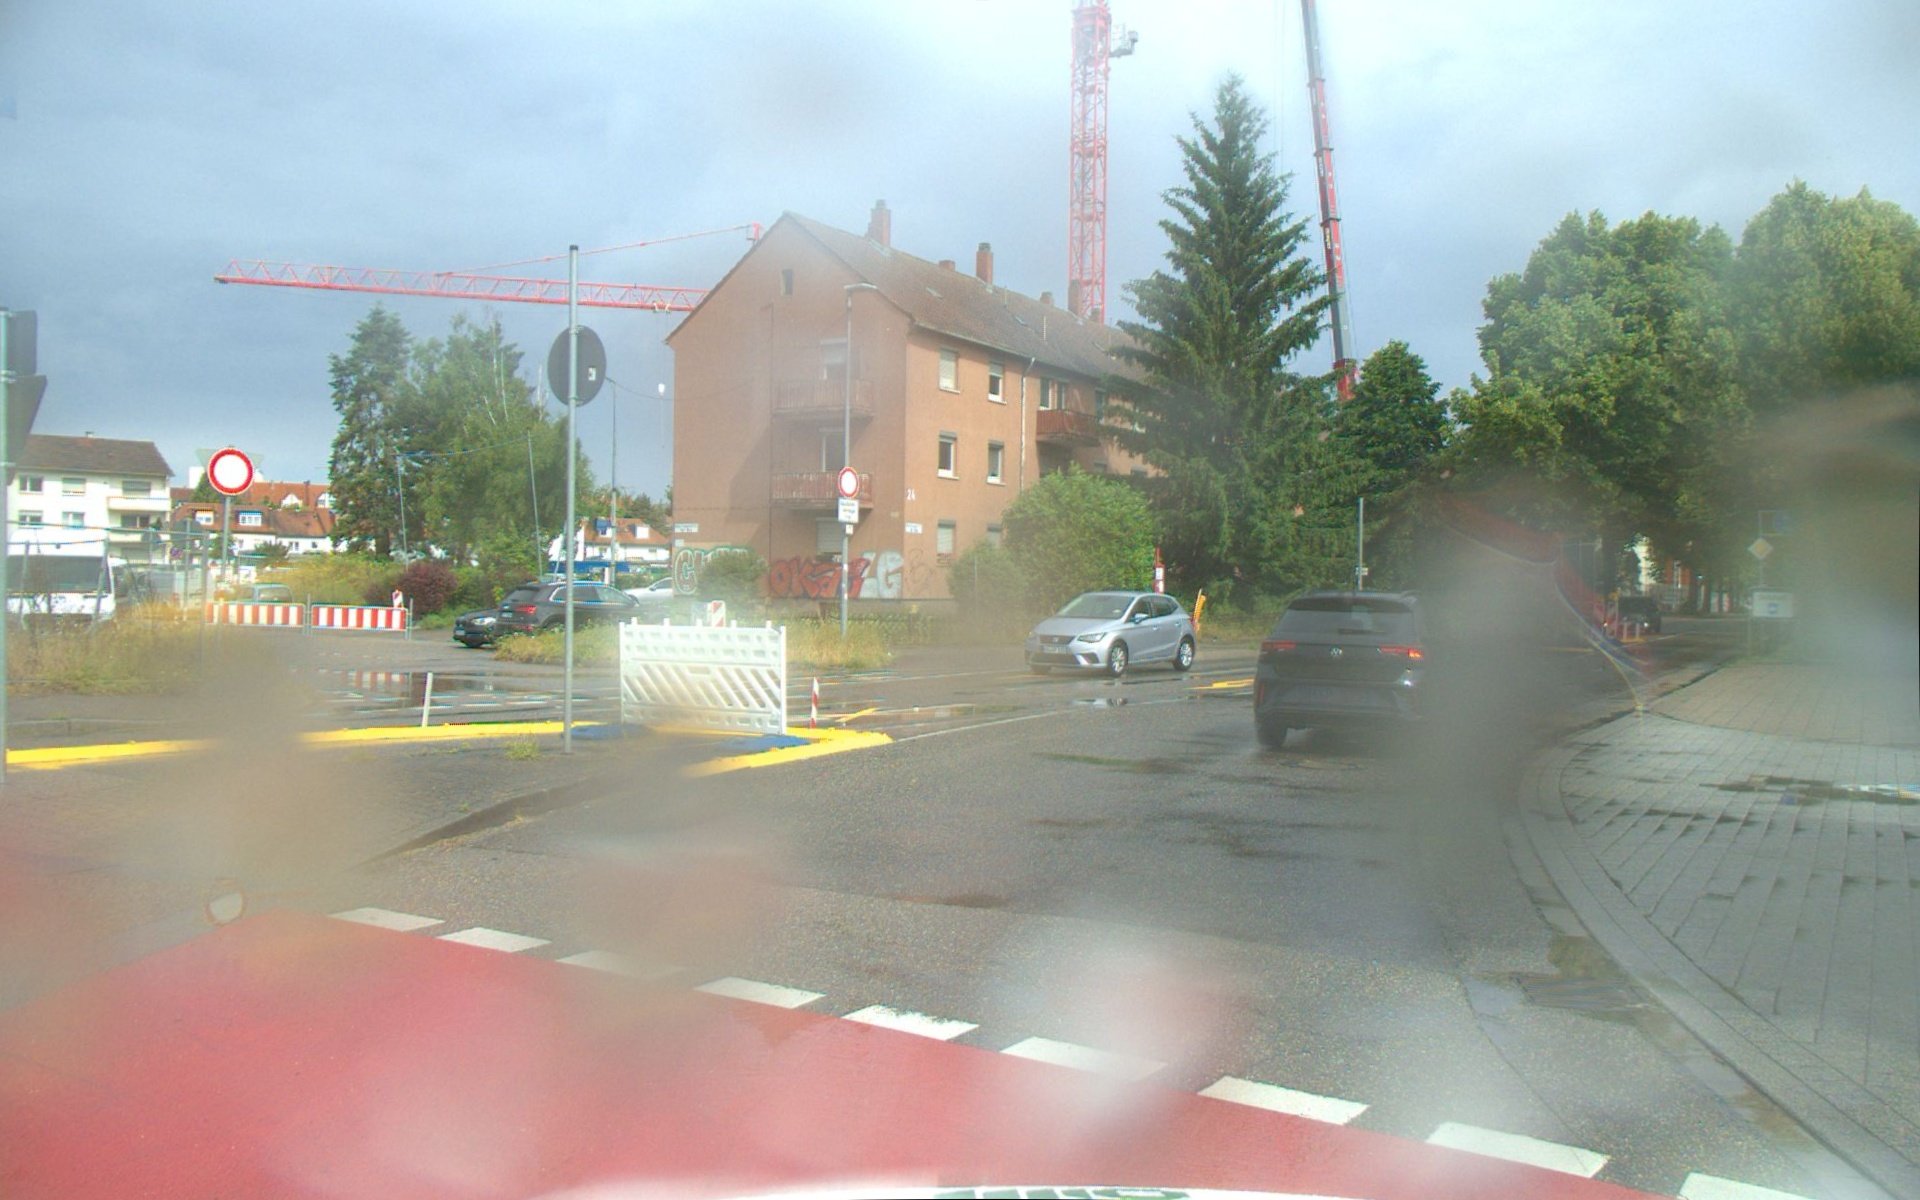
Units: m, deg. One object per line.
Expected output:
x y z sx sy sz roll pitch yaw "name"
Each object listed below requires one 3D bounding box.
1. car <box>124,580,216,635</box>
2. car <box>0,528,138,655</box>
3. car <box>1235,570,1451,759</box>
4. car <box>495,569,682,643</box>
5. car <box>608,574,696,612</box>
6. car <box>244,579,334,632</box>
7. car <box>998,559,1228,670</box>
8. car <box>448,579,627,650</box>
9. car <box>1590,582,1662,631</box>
-32.254 0.284 67.494 3.928 2.160 1.988 1 0 41 "car"
-17.402 -0.246 32.122 2.016 2.121 6.200 1 2 -31 "car"
4.081 0.570 17.181 1.858 1.646 4.002 2 1 17 "car"
-8.670 0.142 38.691 4.001 1.661 1.601 1 0 -29 "car"
-12.756 -0.294 68.629 3.442 1.545 1.615 1 0 -6 "car"
-28.443 0.209 70.071 3.928 2.160 1.988 1 0 41 "car"
2.869 0.212 30.110 2.041 1.762 4.680 4 2 36 "car"
-10.375 0.349 40.651 4.001 1.661 1.601 1 0 -29 "car"
26.337 0.210 65.331 2.036 1.762 4.691 3 2 29 "car"
